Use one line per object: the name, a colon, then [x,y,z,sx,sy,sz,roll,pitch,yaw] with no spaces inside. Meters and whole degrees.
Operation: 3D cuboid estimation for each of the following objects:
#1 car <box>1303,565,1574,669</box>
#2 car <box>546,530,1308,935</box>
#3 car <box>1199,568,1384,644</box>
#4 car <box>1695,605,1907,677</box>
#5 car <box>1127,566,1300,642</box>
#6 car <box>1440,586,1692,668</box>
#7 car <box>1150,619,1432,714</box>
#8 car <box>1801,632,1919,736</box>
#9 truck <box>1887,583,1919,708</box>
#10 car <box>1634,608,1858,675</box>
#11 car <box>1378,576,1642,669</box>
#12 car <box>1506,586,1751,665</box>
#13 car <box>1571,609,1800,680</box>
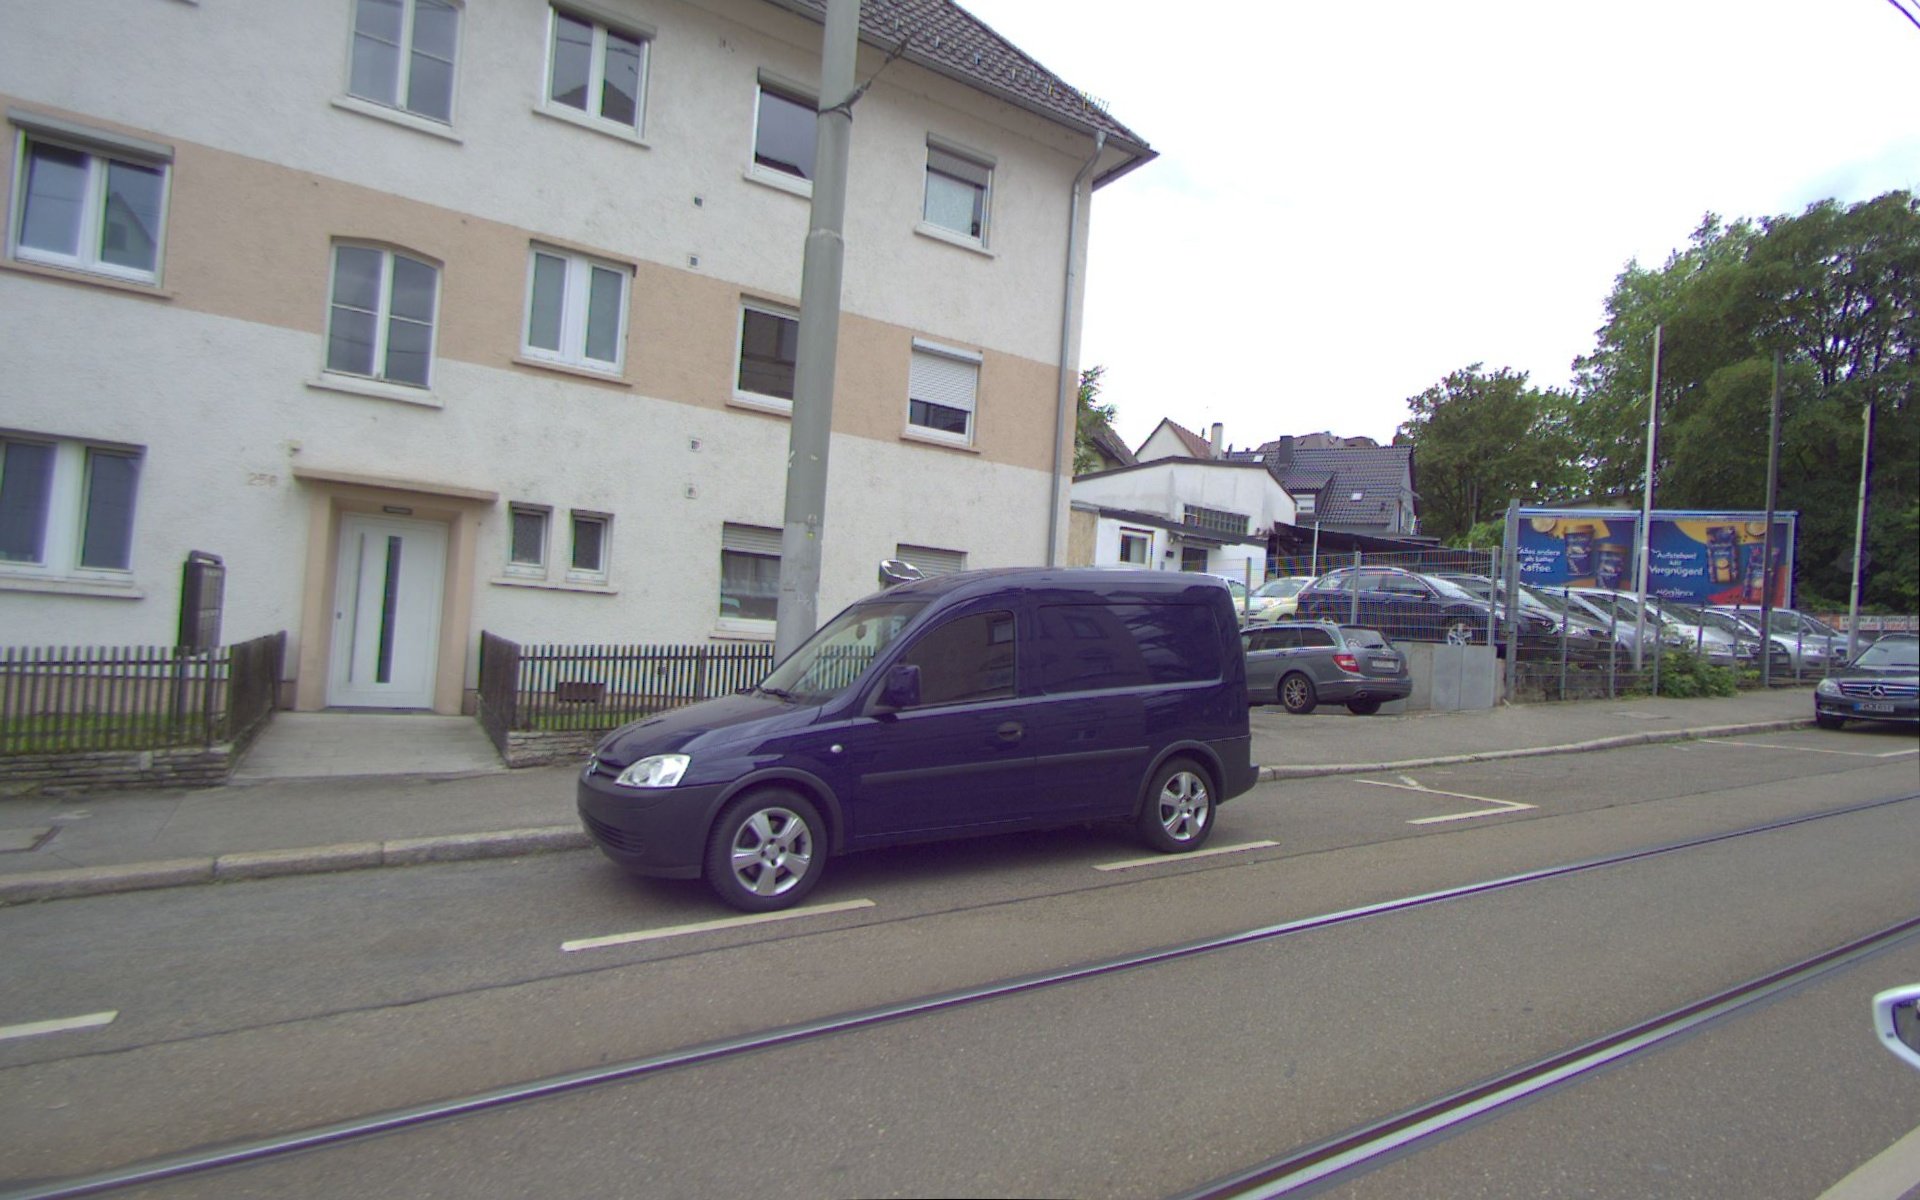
car: [8.273,0.227,17.730,1.669,1.573,4.039,1,1,-31]
car: [-0.065,0.650,6.252,4.465,1.758,1.736,2,-2,-30]
car: [7.224,0.154,21.806,3.843,1.514,1.675,1,0,-30]
car: [20.962,0.977,25.127,1.677,1.572,3.920,1,0,-45]
car: [5.961,0.117,23.567,3.843,1.635,1.675,1,0,-30]
car: [12.058,0.480,20.252,1.669,1.464,4.039,1,0,-31]
car: [5.311,1.113,16.718,1.839,1.363,4.319,1,-5,-31]
car: [15.030,1.245,15.668,4.432,1.452,1.687,2,-2,-33]
truck: [20.734,0.908,19.137,7.930,2.217,2.269,2,0,-30]
car: [18.587,0.931,23.929,1.669,1.375,3.856,1,0,-31]
car: [10.200,0.374,18.936,1.719,1.544,4.039,1,0,-31]
car: [14.141,0.482,21.480,1.669,1.514,4.039,1,0,-31]
car: [16.299,0.950,22.765,1.669,1.375,3.856,1,0,-31]
